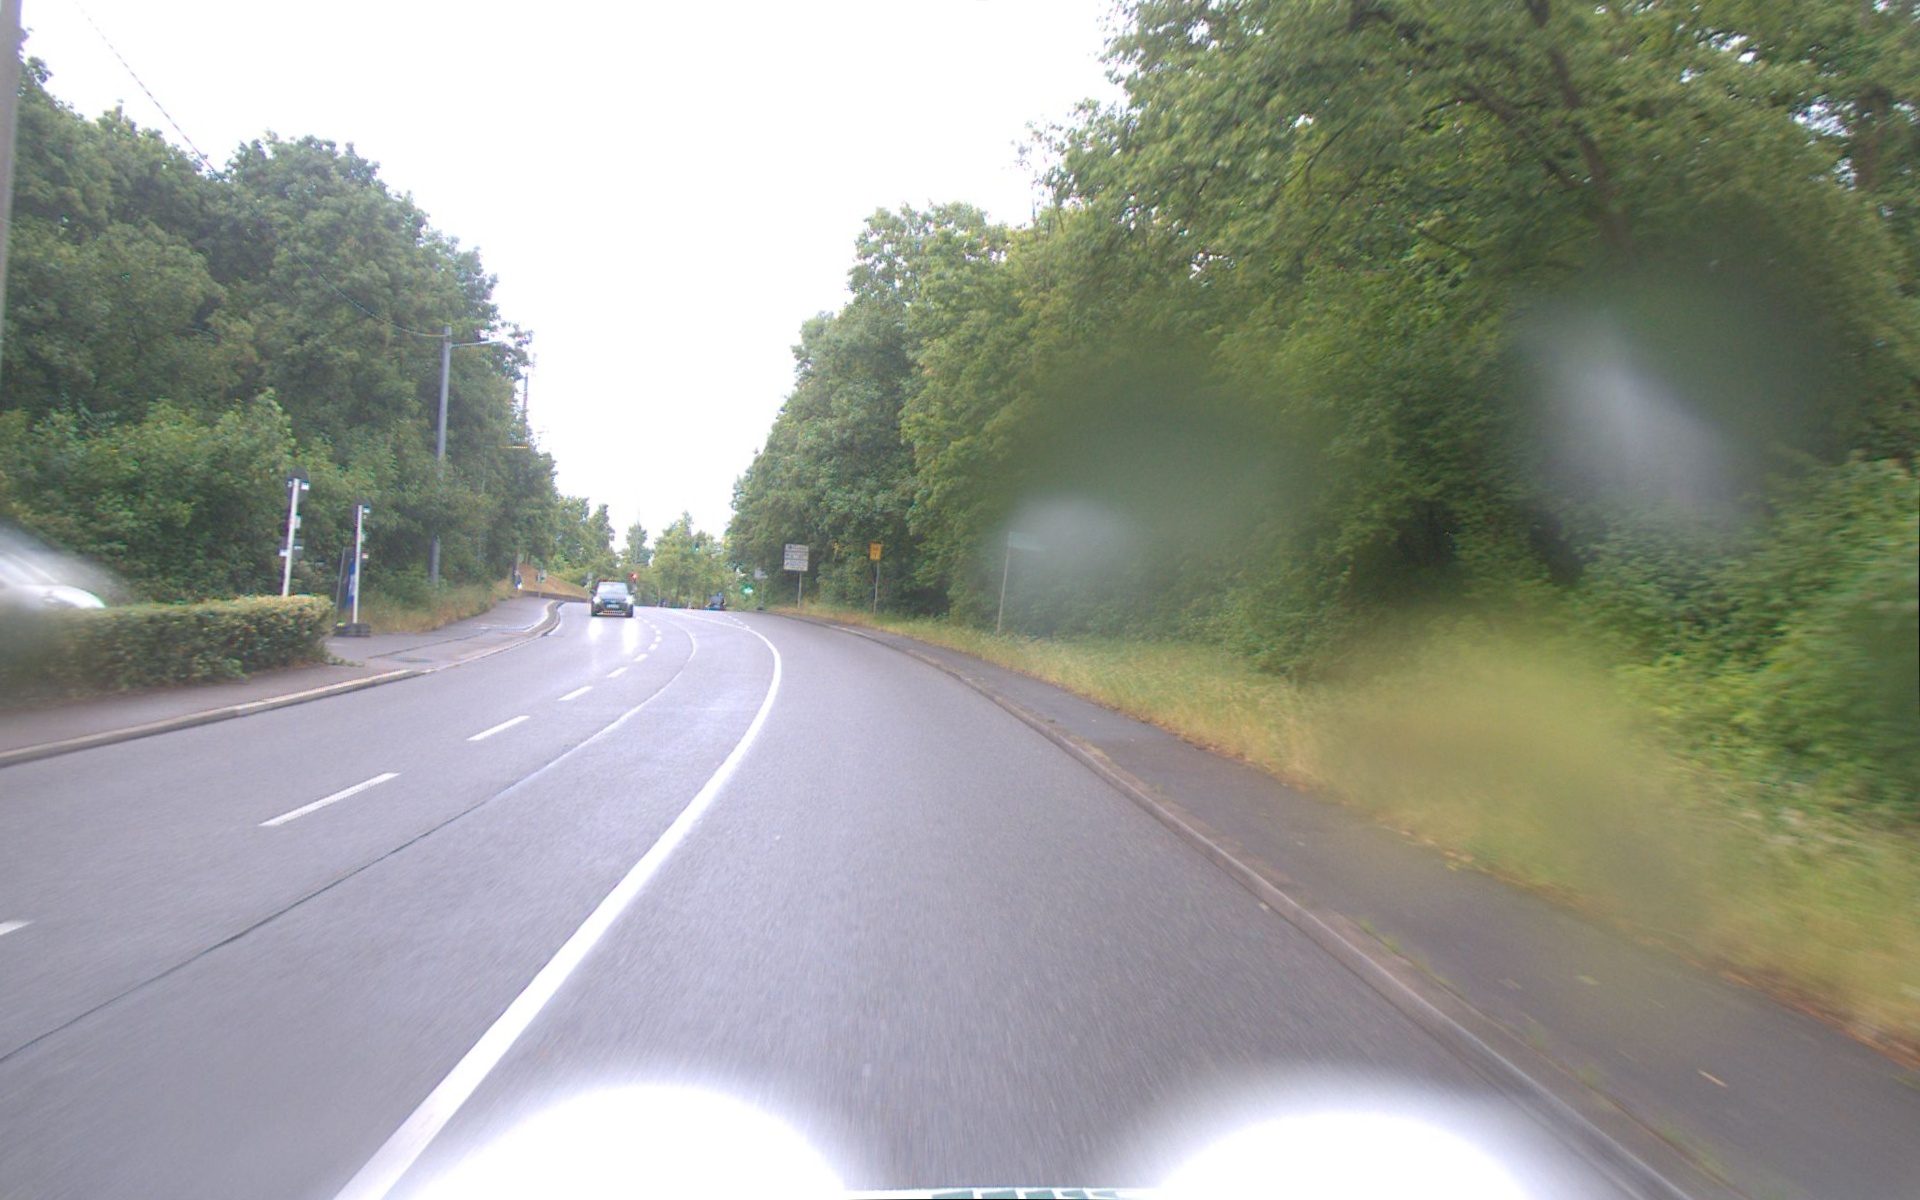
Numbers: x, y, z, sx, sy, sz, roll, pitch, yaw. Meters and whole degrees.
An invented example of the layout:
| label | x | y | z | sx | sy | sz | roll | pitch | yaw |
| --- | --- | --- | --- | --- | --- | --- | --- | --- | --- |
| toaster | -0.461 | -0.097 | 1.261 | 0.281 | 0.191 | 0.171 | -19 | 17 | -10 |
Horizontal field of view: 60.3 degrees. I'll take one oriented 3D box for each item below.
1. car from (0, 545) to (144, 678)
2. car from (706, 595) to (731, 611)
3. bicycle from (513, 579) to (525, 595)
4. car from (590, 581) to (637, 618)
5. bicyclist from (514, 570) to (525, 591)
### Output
| label | x | y | z | sx | sy | sz | roll | pitch | yaw |
| --- | --- | --- | --- | --- | --- | --- | --- | --- | --- |
| car | -12.799 | 0.089 | 21.363 | 3.575 | 1.619 | 1.849 | 2 | 0 | -7 |
| car | -23.511 | 0.271 | 161.108 | 1.896 | 1.524 | 4.315 | 2 | 0 | -3 |
| bicycle | -35.590 | -1.055 | 133.452 | 0.694 | 1.264 | 2.150 | 2 | 0 | -22 |
| car | -15.182 | -0.038 | 72.346 | 1.902 | 1.524 | 4.304 | 2 | 0 | -13 |
| bicyclist | -35.568 | -1.568 | 133.458 | 0.695 | 1.673 | 0.945 | 2 | 0 | -22 |
